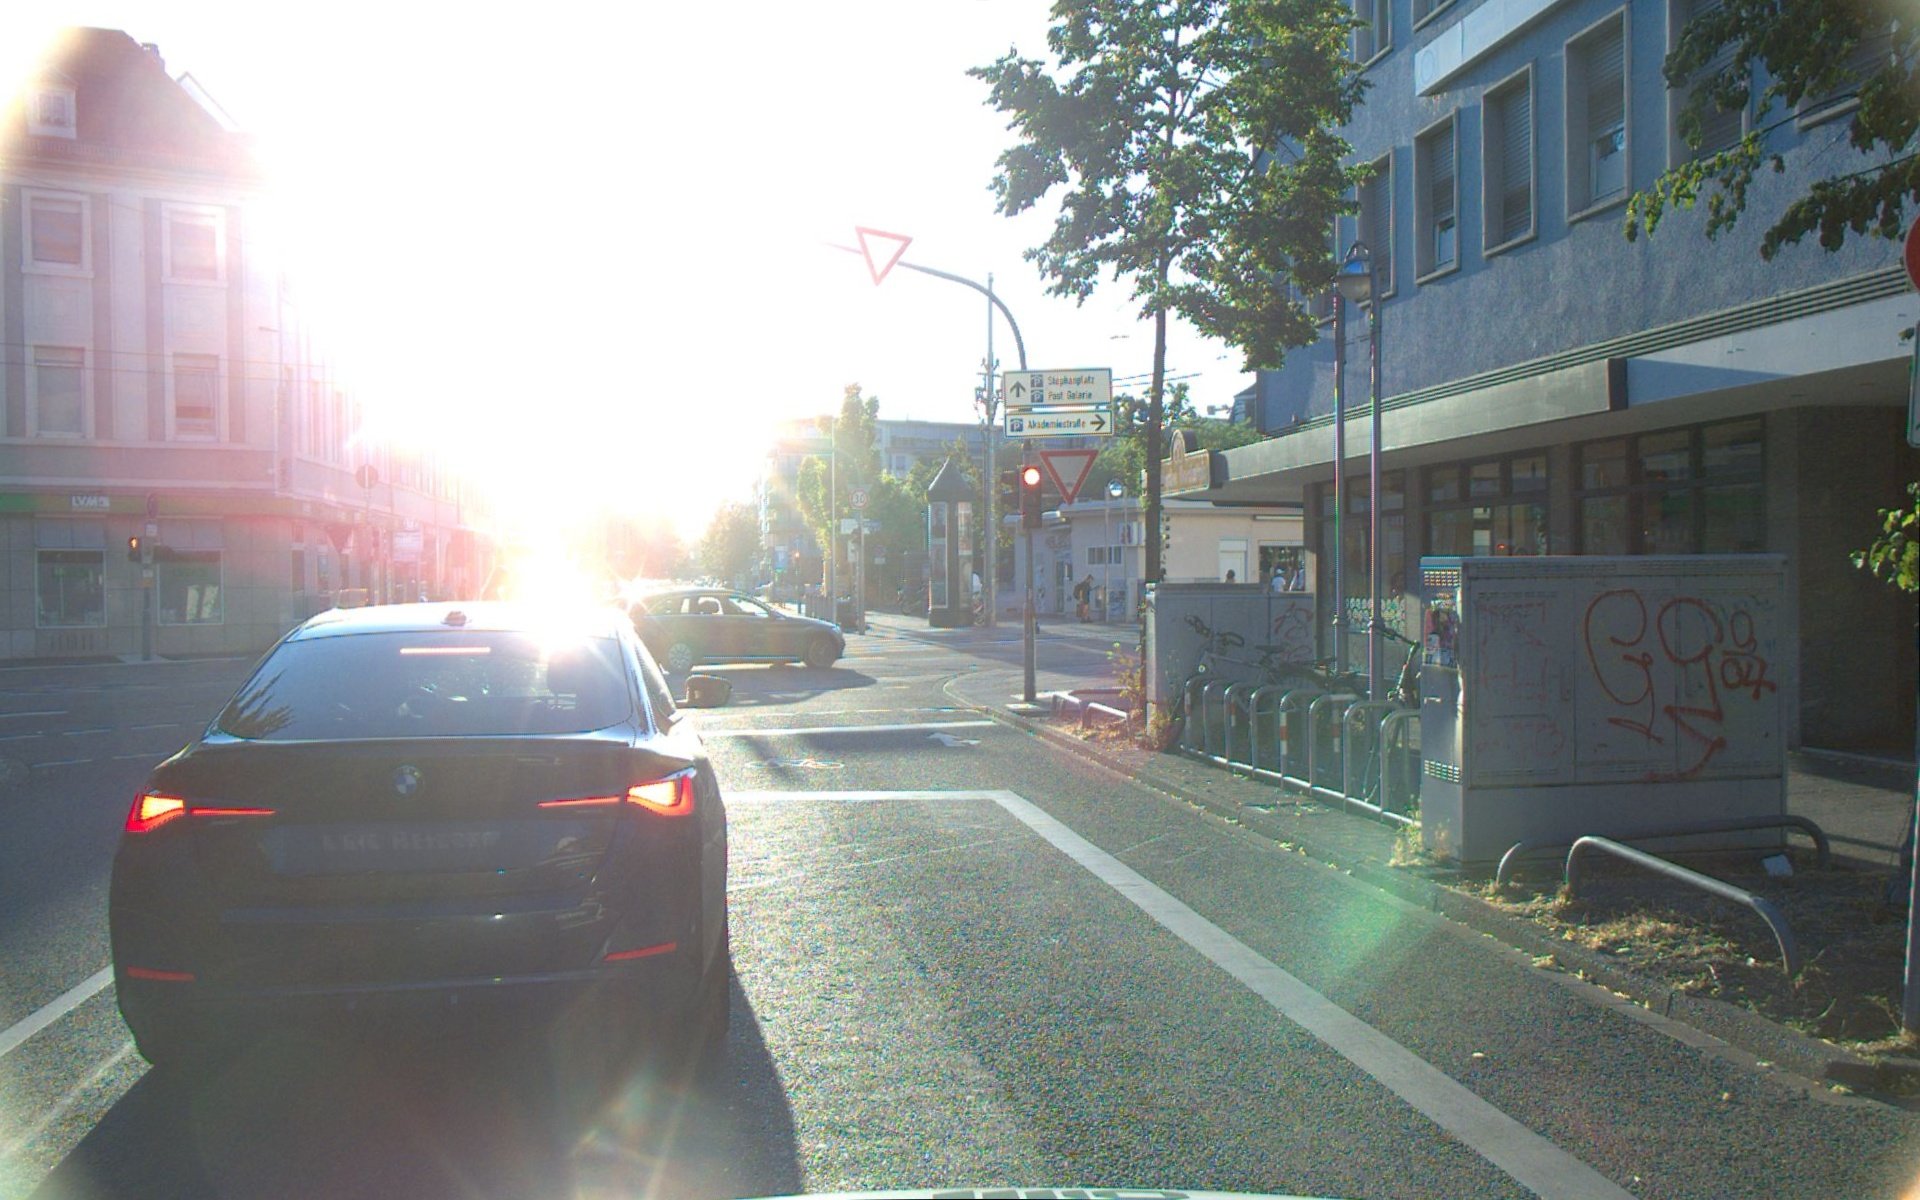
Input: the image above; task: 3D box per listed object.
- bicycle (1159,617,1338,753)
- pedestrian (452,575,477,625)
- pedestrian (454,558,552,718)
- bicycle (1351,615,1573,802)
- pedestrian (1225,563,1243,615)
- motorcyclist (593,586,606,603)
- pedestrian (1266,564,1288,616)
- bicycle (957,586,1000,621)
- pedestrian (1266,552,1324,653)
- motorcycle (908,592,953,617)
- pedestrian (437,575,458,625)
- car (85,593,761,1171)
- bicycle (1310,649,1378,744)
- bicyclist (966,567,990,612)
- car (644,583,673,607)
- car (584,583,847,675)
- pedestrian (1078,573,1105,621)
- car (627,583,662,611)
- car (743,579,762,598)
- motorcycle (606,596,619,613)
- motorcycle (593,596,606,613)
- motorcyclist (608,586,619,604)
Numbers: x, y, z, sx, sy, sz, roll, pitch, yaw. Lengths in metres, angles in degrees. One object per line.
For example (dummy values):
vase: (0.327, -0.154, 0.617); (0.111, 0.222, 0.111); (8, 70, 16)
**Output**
bicycle: (2.645, 0.770, 15.175); (1.582, 1.191, 0.318); (-1, 1, -7)
pedestrian: (-18.999, 0.000, 63.407); (0.664, 1.909, 0.616); (1, 0, 31)
pedestrian: (-5.600, 0.450, 20.282); (0.990, 1.893, 0.634); (-2, 1, -29)
bicycle: (3.435, 0.737, 11.341); (1.413, 1.241, 0.383); (1, 0, -8)
pedestrian: (9.376, -0.365, 56.598); (0.438, 1.765, 0.429); (1, 0, -34)
motorcyclist: (-20.433, -0.316, 93.836); (0.564, 0.931, 2.196); (1, 0, -8)
pedestrian: (10.714, -0.339, 55.934); (0.474, 1.765, 0.525); (1, 0, -34)
bicycle: (0.625, 0.115, 56.019); (0.543, 1.179, 2.125); (1, 0, -27)
pedestrian: (6.366, 0.042, 31.400); (0.674, 1.874, 0.824); (-1, 1, -45)
motorcycle: (-1.213, 0.183, 67.849); (1.644, 0.955, 0.851); (-1, 1, -20)
pedestrian: (-19.493, -0.006, 62.915); (0.631, 1.909, 0.630); (1, 0, -9)
car: (-1.739, 0.711, 6.445); (1.705, 1.453, 4.214); (0, 0, -10)
bicycle: (3.566, 0.882, 15.419); (0.244, 0.810, 1.114); (1, 0, -7)
bicyclist: (0.595, -0.356, 56.094); (0.543, 1.507, 0.716); (1, 0, -27)
car: (-20.528, -0.368, 112.774); (1.784, 1.545, 3.992); (-1, 1, -9)
car: (-4.358, 0.467, 29.738); (4.368, 1.499, 1.796); (-1, 1, -34)
pedestrian: (4.294, -0.111, 54.068); (0.719, 1.555, 0.471); (1, 0, 30)
car: (-18.021, -0.177, 94.613); (1.784, 1.545, 3.992); (-1, 1, -9)
car: (-20.744, -1.189, 165.456); (1.738, 1.881, 3.994); (-1, 1, -7)
motorcycle: (-19.607, 0.241, 93.440); (0.564, 0.931, 2.196); (1, 0, -8)
motorcycle: (-20.436, 0.225, 93.816); (0.564, 0.931, 2.196); (1, 0, -8)
motorcyclist: (-19.567, -0.299, 93.343); (0.564, 1.013, 0.701); (1, 0, -9)
